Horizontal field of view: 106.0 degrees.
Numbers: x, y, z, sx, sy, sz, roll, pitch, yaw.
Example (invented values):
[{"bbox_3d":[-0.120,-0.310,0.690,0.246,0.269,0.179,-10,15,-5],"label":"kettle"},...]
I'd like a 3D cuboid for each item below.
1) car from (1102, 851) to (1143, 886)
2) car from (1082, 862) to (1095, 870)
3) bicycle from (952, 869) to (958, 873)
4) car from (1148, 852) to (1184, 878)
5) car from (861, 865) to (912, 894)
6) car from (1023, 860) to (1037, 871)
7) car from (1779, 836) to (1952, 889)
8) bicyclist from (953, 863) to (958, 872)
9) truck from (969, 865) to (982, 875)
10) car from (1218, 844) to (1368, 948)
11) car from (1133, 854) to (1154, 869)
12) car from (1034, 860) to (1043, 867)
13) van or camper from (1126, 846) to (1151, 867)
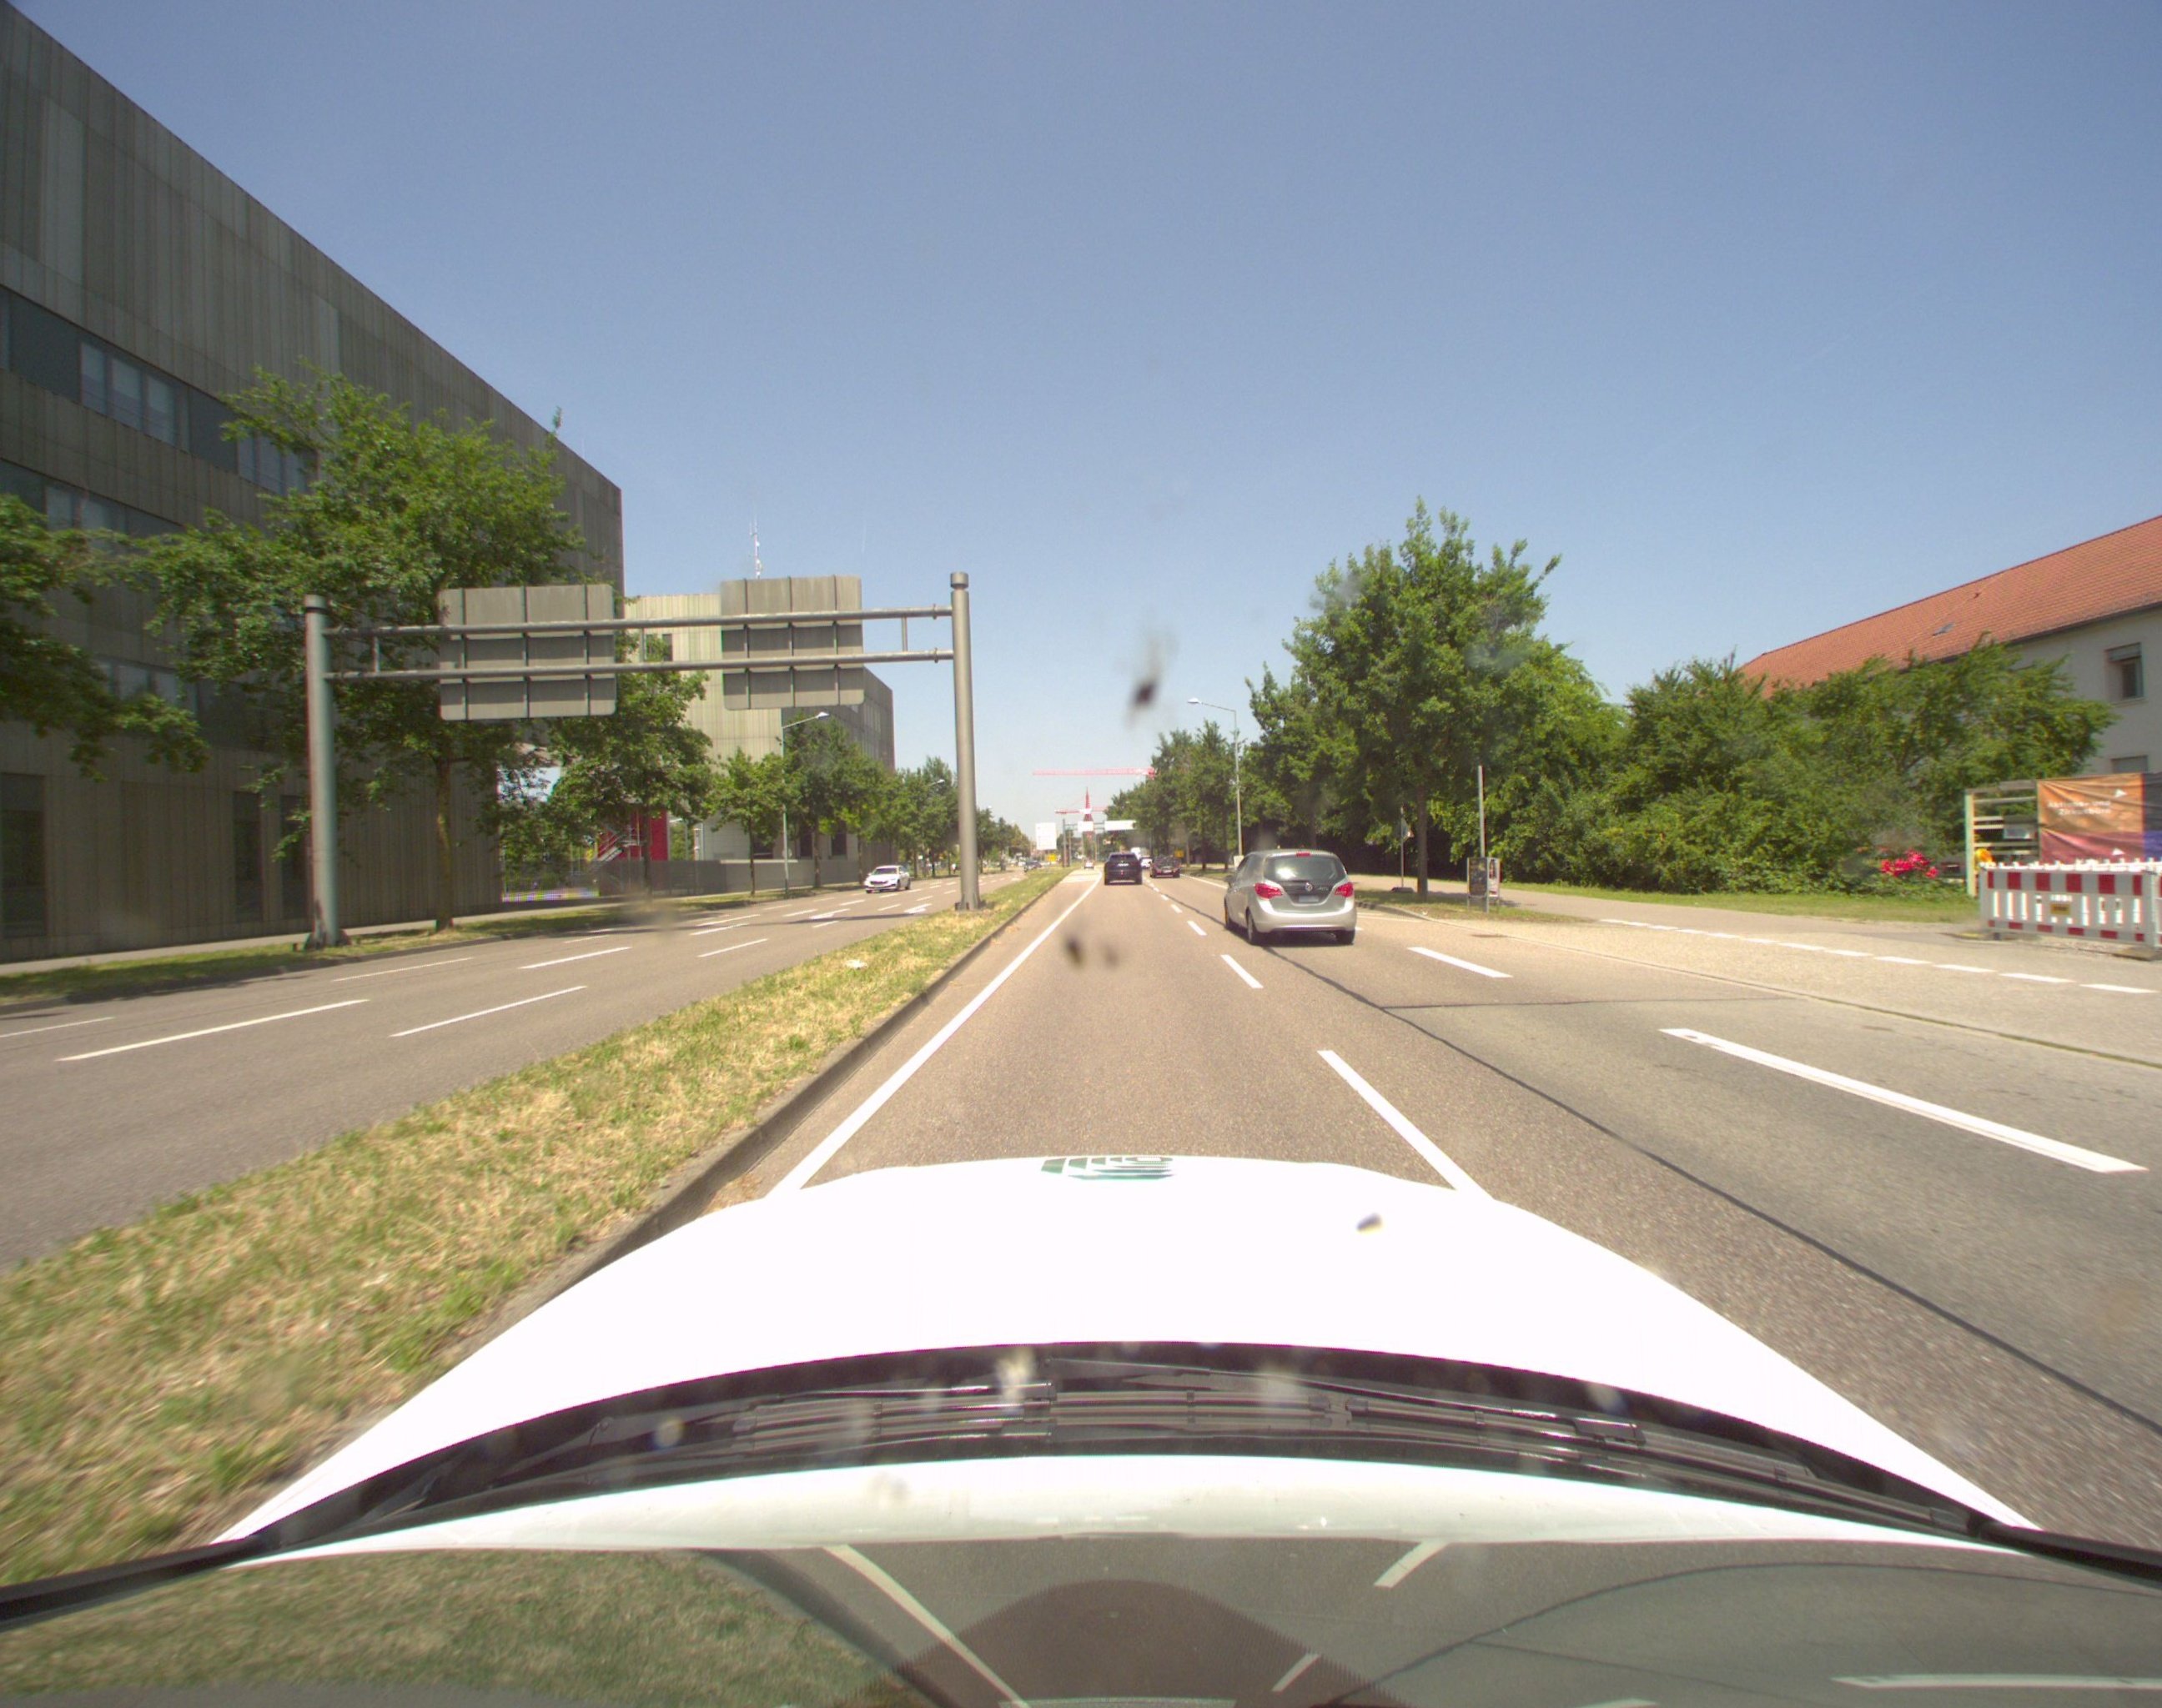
[{"bbox_3d":[2.119,0.711,42.231,1.990,1.689,4.035,-1,0,2],"label":"car"},{"bbox_3d":[1.406,2.159,147.643,1.989,1.321,3.995,-2,0,-4],"label":"car"},{"bbox_3d":[-19.891,2.689,128.938,0.479,0.715,1.852,-2,-1,4],"label":"bicycle"},{"bbox_3d":[5.453,0.721,52.512,2.006,1.517,4.463,-2,-1,2],"label":"car"},{"bbox_3d":[-10.814,1.401,45.622,1.805,1.427,4.356,-3,0,-1],"label":"car"},{"bbox_3d":[-7.460,1.688,119.378,1.703,1.472,3.939,-3,0,-1],"label":"car"},{"bbox_3d":[26.302,0.314,27.519,3.948,1.662,1.892,-2,0,37],"label":"car"},{"bbox_3d":[-19.910,2.168,129.013,0.620,1.489,0.757,-2,-1,3],"label":"bicyclist"},{"bbox_3d":[-26.794,4.006,207.679,2.631,2.577,6.314,0,-1,-1],"label":"truck"},{"bbox_3d":[3.668,0.670,14.790,1.786,1.612,3.892,-1,0,1],"label":"car"},{"bbox_3d":[6.386,0.765,83.085,1.650,1.356,4.457,-2,-1,-2],"label":"car"},{"bbox_3d":[-10.461,2.316,199.955,1.888,1.610,4.531,-2,0,-2],"label":"car"},{"bbox_3d":[6.738,0.300,96.067,2.487,2.291,4.917,-2,-1,-2],"label":"van or camper"}]
